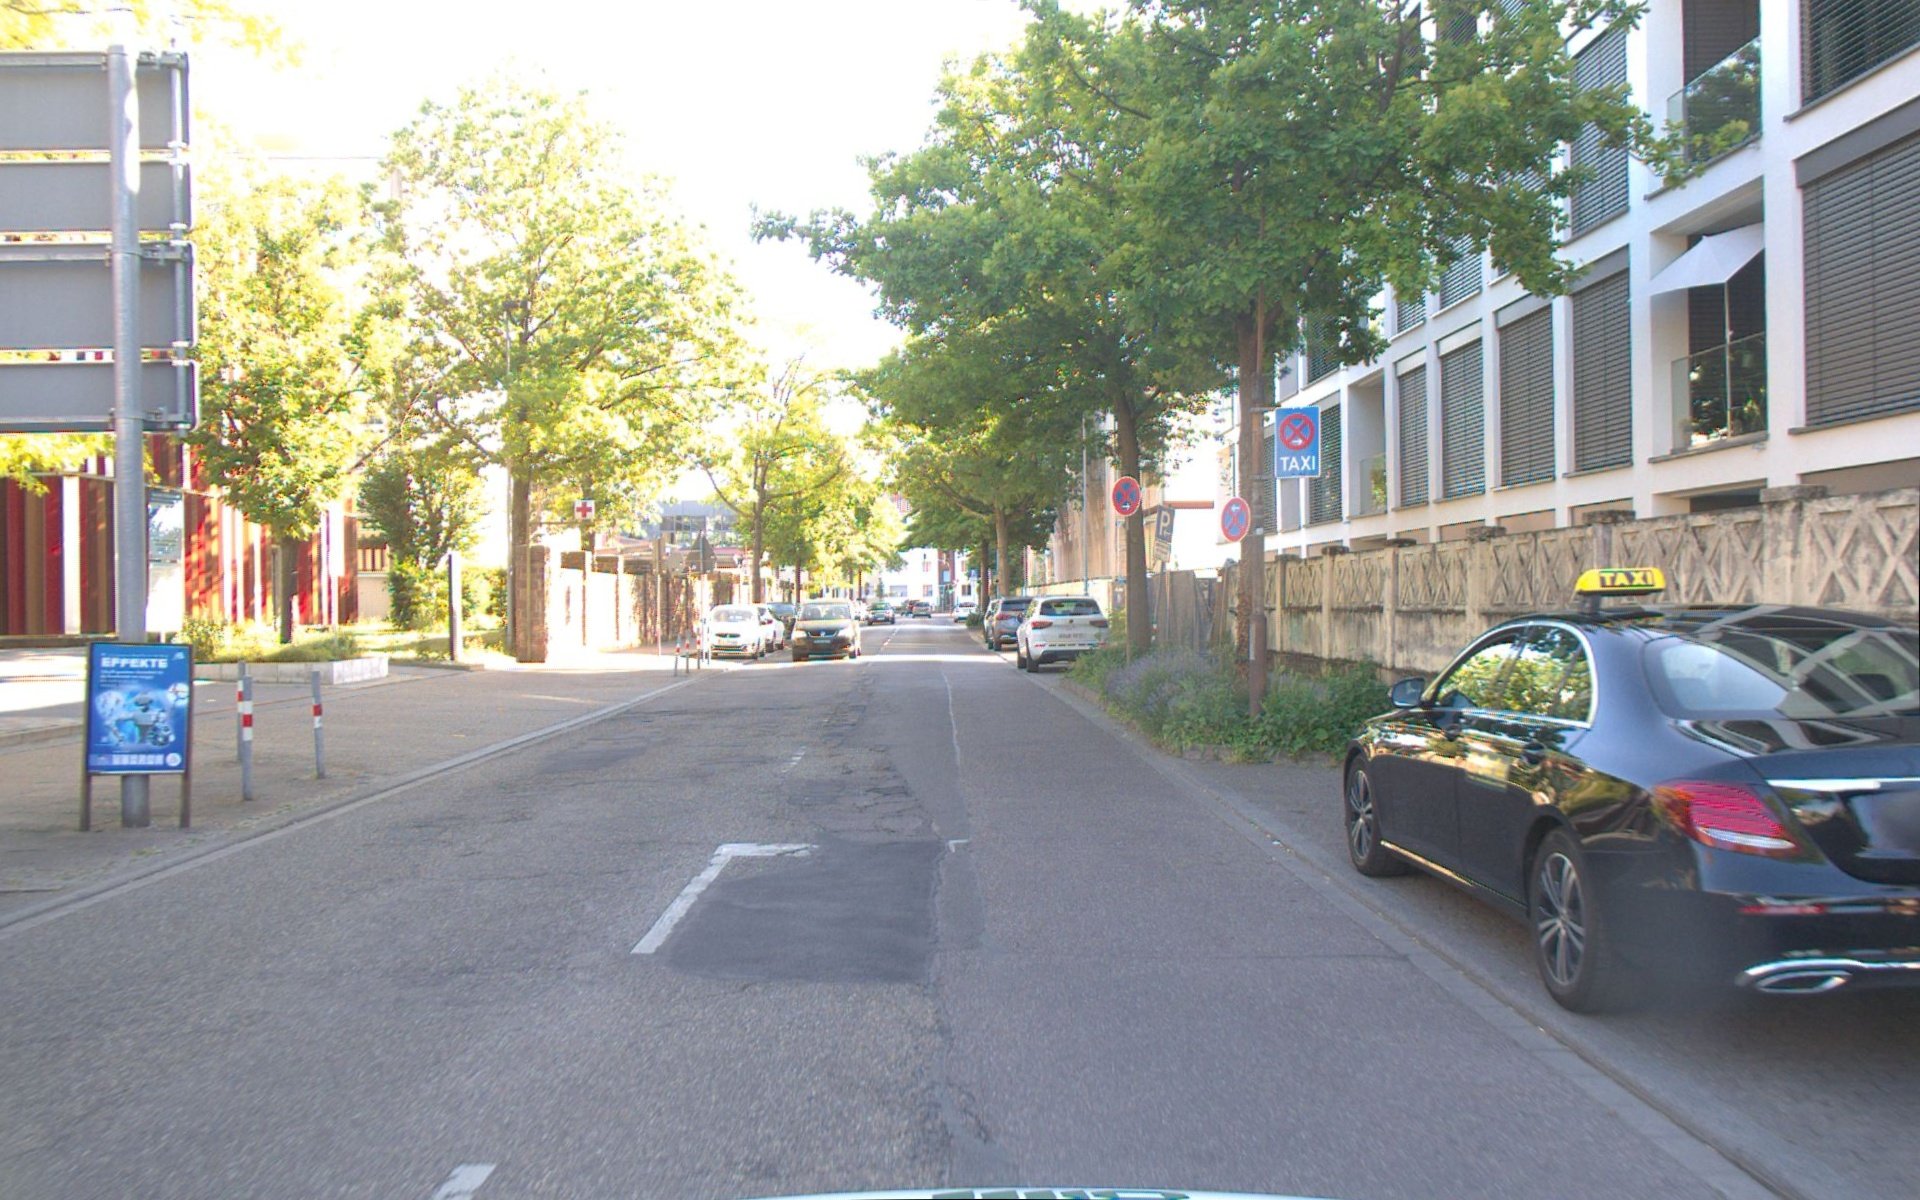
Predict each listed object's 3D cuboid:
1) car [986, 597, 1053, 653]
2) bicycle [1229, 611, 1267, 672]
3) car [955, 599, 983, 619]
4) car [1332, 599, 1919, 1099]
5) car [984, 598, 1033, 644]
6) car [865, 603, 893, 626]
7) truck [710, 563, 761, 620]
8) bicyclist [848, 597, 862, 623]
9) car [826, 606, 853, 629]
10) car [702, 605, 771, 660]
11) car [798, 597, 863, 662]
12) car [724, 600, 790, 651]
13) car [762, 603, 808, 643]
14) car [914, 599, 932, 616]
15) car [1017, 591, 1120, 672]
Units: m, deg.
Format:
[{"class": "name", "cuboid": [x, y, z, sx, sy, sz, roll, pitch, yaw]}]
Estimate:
[{"class": "car", "cuboid": [1.817, 0.744, 51.757, 1.678, 1.667, 4.300, -1, 0, -3]}, {"class": "bicycle", "cuboid": [5.230, 0.738, 30.083, 0.330, 1.059, 1.830, 0, 0, -2]}, {"class": "car", "cuboid": [0.623, 0.609, 117.123, 1.795, 1.346, 4.494, -1, 0, -2]}, {"class": "car", "cuboid": [3.056, 0.736, 7.301, 1.685, 1.435, 4.762, -1, 0, -1]}, {"class": "car", "cuboid": [1.788, 0.740, 60.770, 1.688, 1.536, 3.992, -2, 0, 2]}, {"class": "car", "cuboid": [-5.435, 0.931, 110.299, 1.785, 1.461, 3.966, 1, 0, -3]}, {"class": "truck", "cuboid": [-15.507, -0.584, 114.912, 2.677, 3.776, 7.425, 1, 0, -2]}, {"class": "bicyclist", "cuboid": [-6.149, 0.586, 97.217, 0.706, 1.549, 1.005, 1, 0, 1]}, {"class": "car", "cuboid": [-7.998, 1.133, 109.865, 1.576, 1.484, 3.707, 1, 0, -1]}, {"class": "car", "cuboid": [-6.389, 0.901, 47.568, 1.542, 1.426, 3.749, 3, 0, -2]}, {"class": "car", "cuboid": [-3.524, 0.773, 45.489, 1.611, 1.639, 4.018, -2, 0, -3]}, {"class": "car", "cuboid": [-6.555, 0.795, 53.691, 1.642, 1.537, 3.848, 2, 0, -1]}, {"class": "car", "cuboid": [-6.882, 0.889, 65.315, 1.542, 1.541, 4.043, 0, 0, -2]}, {"class": "car", "cuboid": [-3.338, 0.701, 149.773, 1.605, 1.468, 3.420, 1, 0, -1]}, {"class": "car", "cuboid": [2.291, 0.638, 35.900, 1.757, 1.644, 4.124, 0, 0, -3]}]
